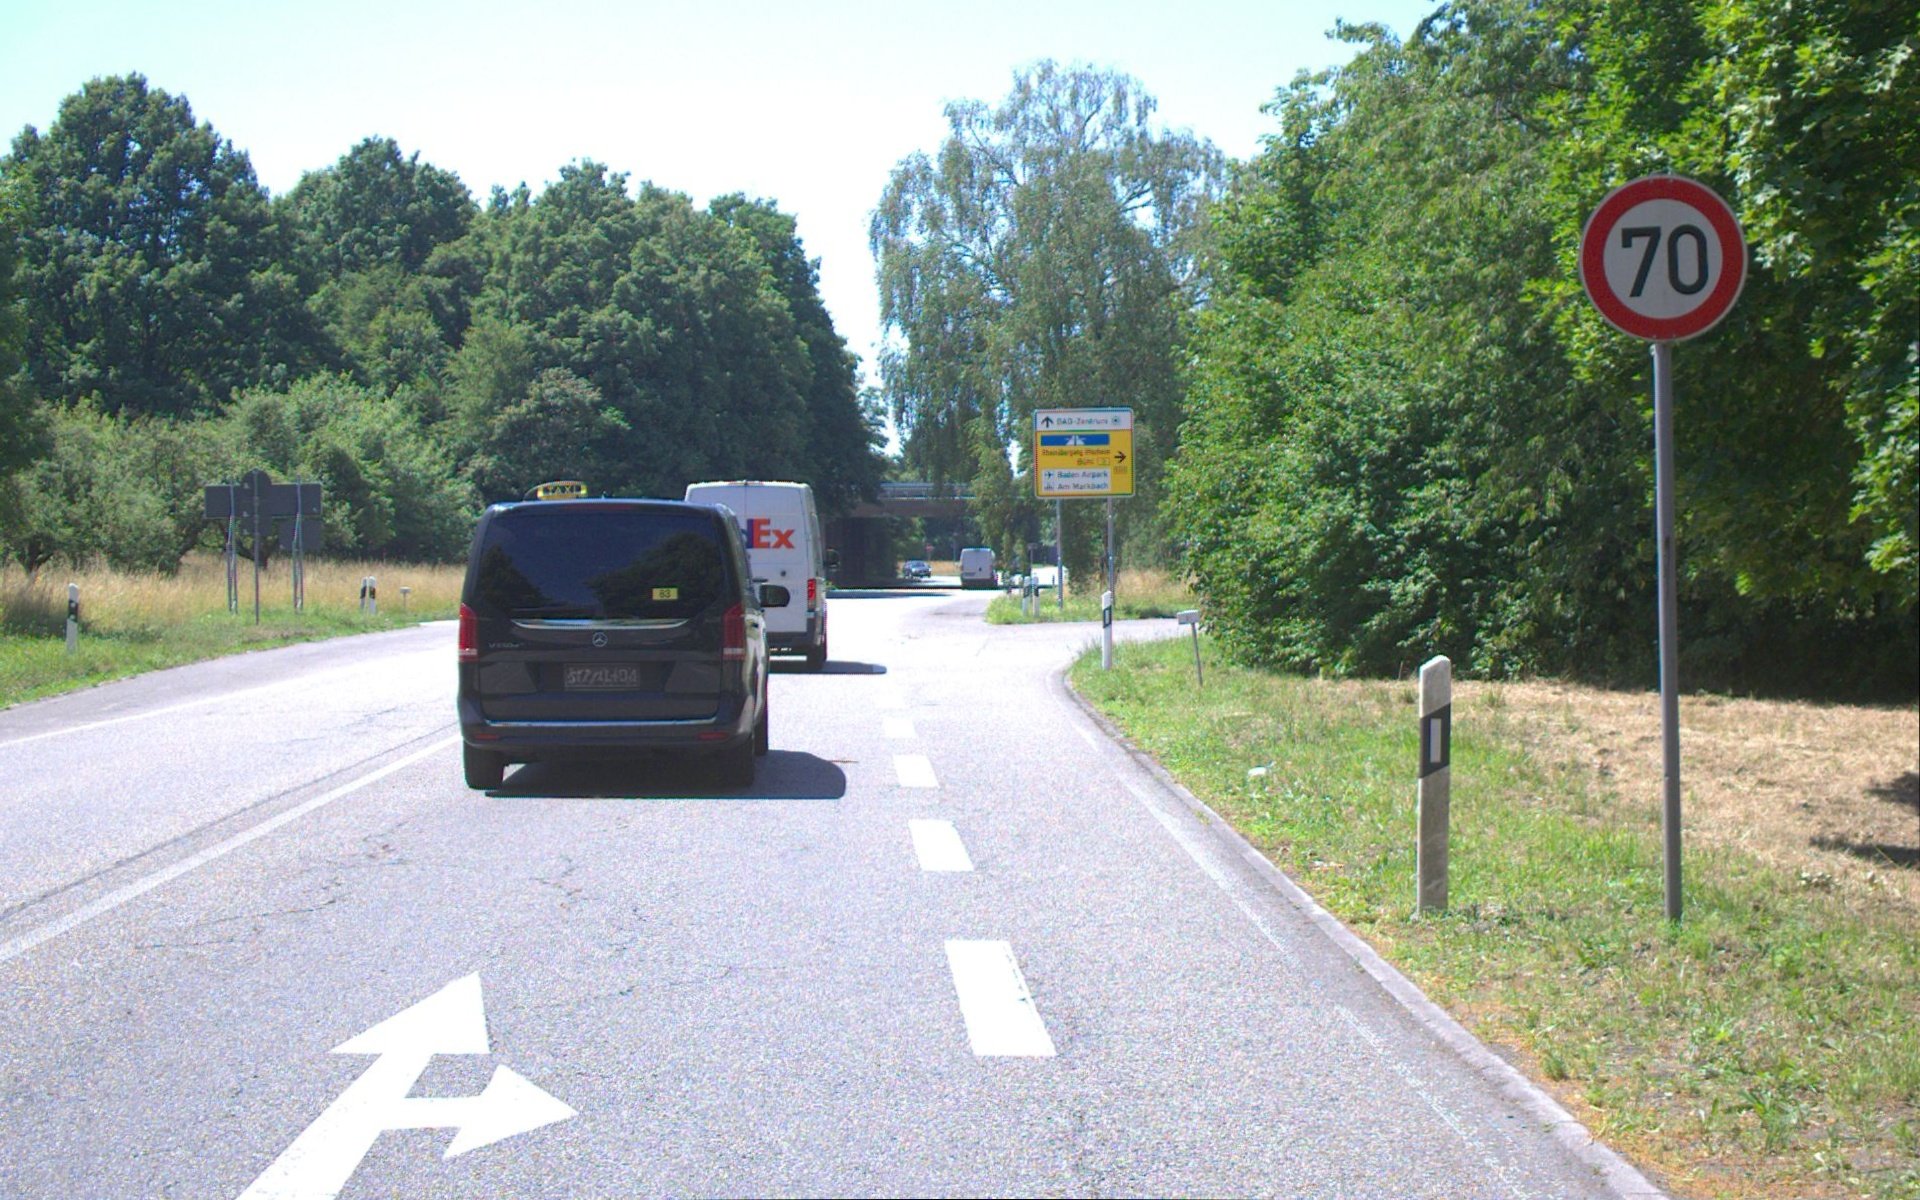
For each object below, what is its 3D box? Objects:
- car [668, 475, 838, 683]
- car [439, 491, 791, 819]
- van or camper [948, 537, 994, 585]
[{"bbox_3d":[-2.816,-0.300,47.752,2.078,2.693,4.666,2,0,-1],"label":"car"},{"bbox_3d":[-2.224,0.312,23.448,1.993,1.946,5.005,2,1,-2],"label":"car"},{"bbox_3d":[0.665,-2.446,216.262,2.631,2.919,5.207,1,0,-2],"label":"van or camper"}]
